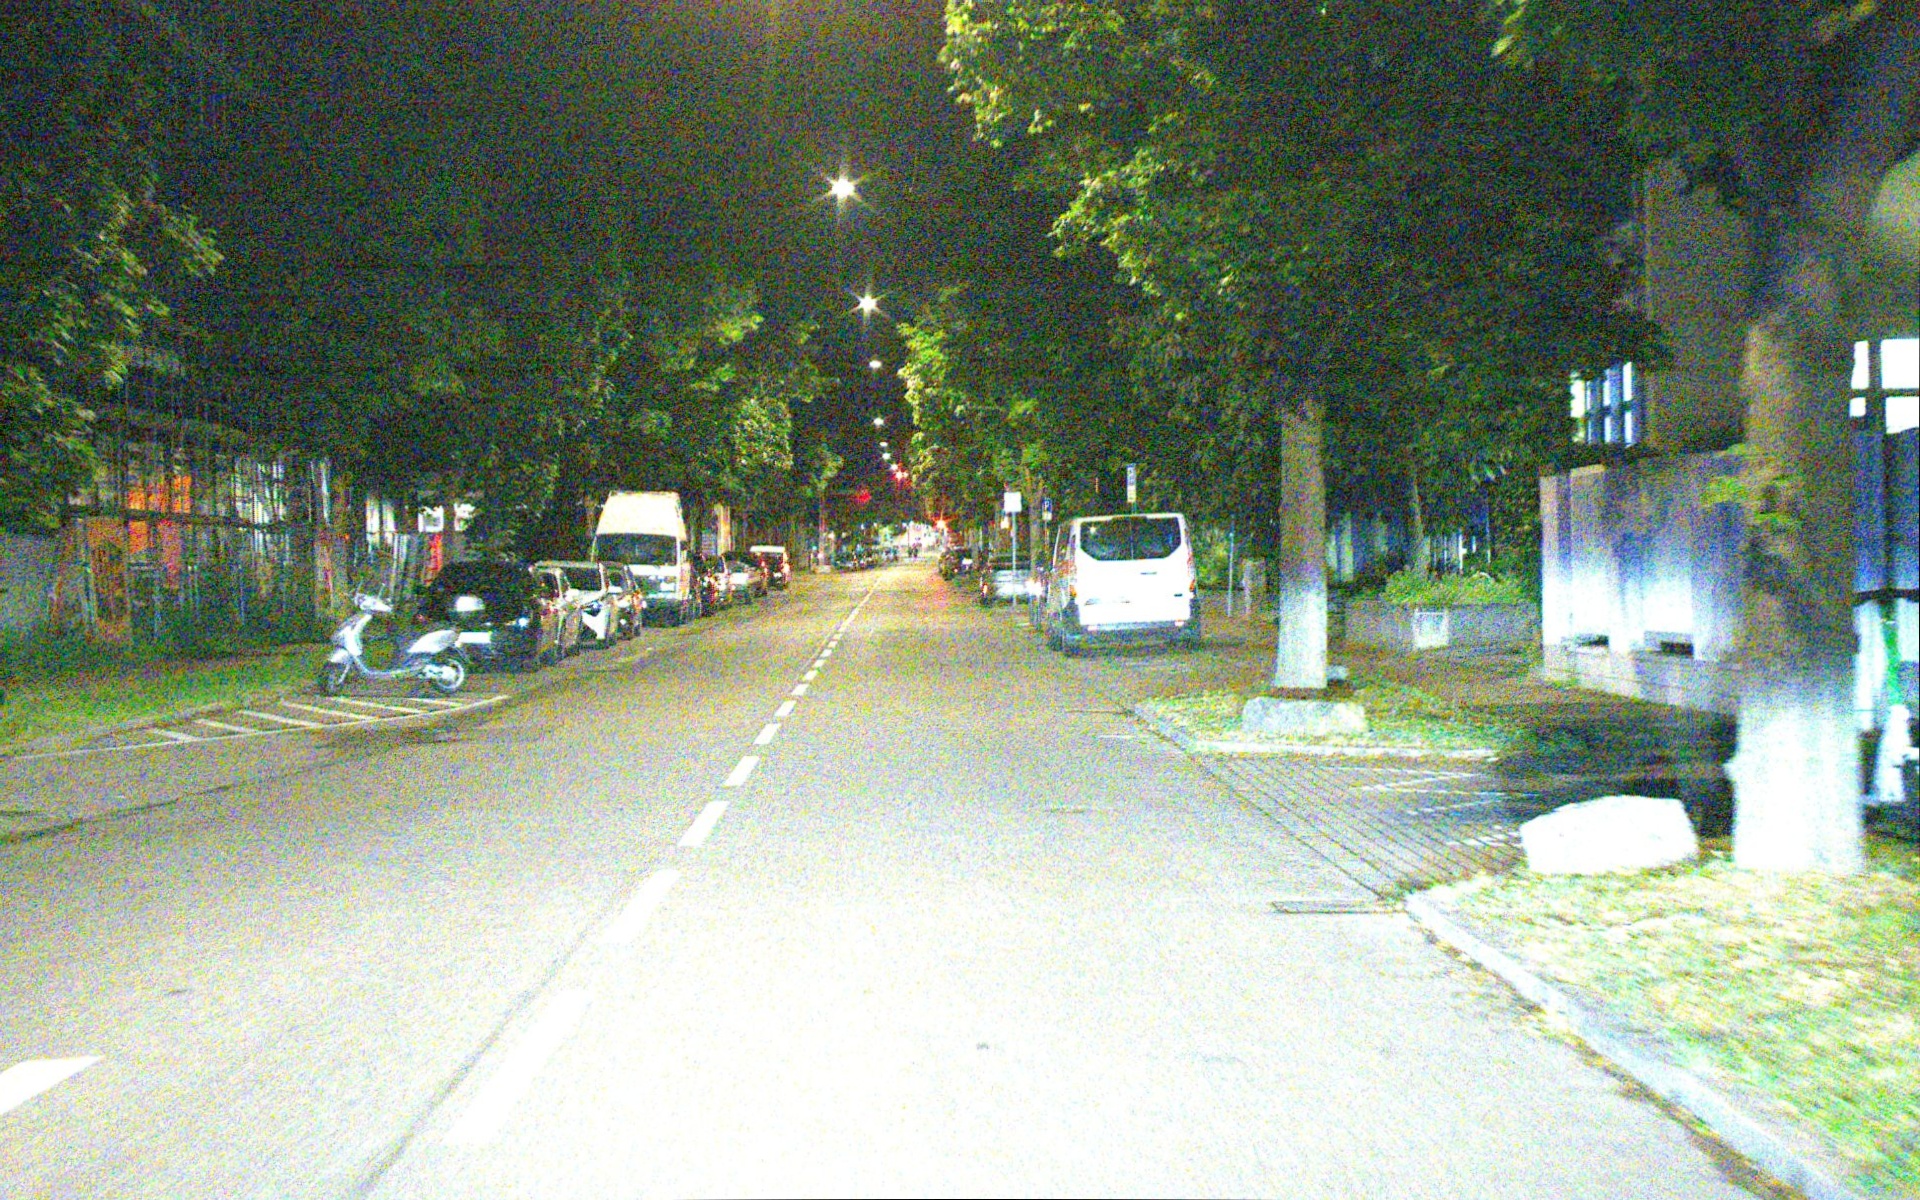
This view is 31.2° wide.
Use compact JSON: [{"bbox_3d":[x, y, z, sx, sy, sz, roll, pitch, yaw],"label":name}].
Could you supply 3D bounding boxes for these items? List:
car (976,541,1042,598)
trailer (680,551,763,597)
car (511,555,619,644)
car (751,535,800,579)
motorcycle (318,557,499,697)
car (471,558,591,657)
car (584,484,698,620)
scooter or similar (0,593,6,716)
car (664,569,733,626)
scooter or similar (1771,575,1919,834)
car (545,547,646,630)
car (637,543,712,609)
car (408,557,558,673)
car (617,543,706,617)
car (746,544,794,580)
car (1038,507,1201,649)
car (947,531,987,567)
[{"bbox_3d":[1.336,-0.830,92.182,1.668,1.424,4.148,-3,1,1],"label":"car"},{"bbox_3d":[-7.272,-0.802,105.357,2.110,1.330,5.435,2,1,0],"label":"trailer"},{"bbox_3d":[-6.743,-0.025,58.930,1.547,1.450,3.368,1,1,-2],"label":"car"},{"bbox_3d":[-8.035,-1.890,150.037,1.822,1.805,4.210,2,1,0],"label":"car"},{"bbox_3d":[-6.208,0.302,38.689,1.901,1.544,0.639,1,0,-20],"label":"motorcycle"},{"bbox_3d":[-6.586,0.082,53.078,1.444,1.425,3.904,2,1,-2],"label":"car"},{"bbox_3d":[-7.006,-1.064,75.904,2.179,2.899,4.910,0,1,-2],"label":"car"},{"bbox_3d":[-9.547,0.542,33.022,0.367,1.200,1.427,-1,0,-1],"label":"scooter or similar"},{"bbox_3d":[-7.394,-0.095,97.622,1.716,1.497,4.206,2,1,-2],"label":"car"},{"bbox_3d":[4.541,0.503,16.982,0.547,1.199,1.911,-2,-1,-1],"label":"scooter or similar"},{"bbox_3d":[-6.846,-0.224,64.876,1.645,1.499,3.861,1,0,-2],"label":"car"},{"bbox_3d":[-7.194,-0.620,86.891,1.742,1.601,4.299,-1,1,-3],"label":"car"},{"bbox_3d":[-6.594,0.177,47.831,1.642,1.499,3.904,1,1,-2],"label":"car"},{"bbox_3d":[-7.035,-0.491,81.349,1.742,1.601,4.116,-3,1,-1],"label":"car"},{"bbox_3d":[-7.858,-1.591,142.328,1.700,1.428,3.828,2,1,0],"label":"car"},{"bbox_3d":[2.266,-0.344,50.007,1.950,1.957,4.604,0,1,-2],"label":"car"},{"bbox_3d":[0.303,-2.421,162.797,1.853,1.648,4.209,-1,1,0],"label":"car"}]
